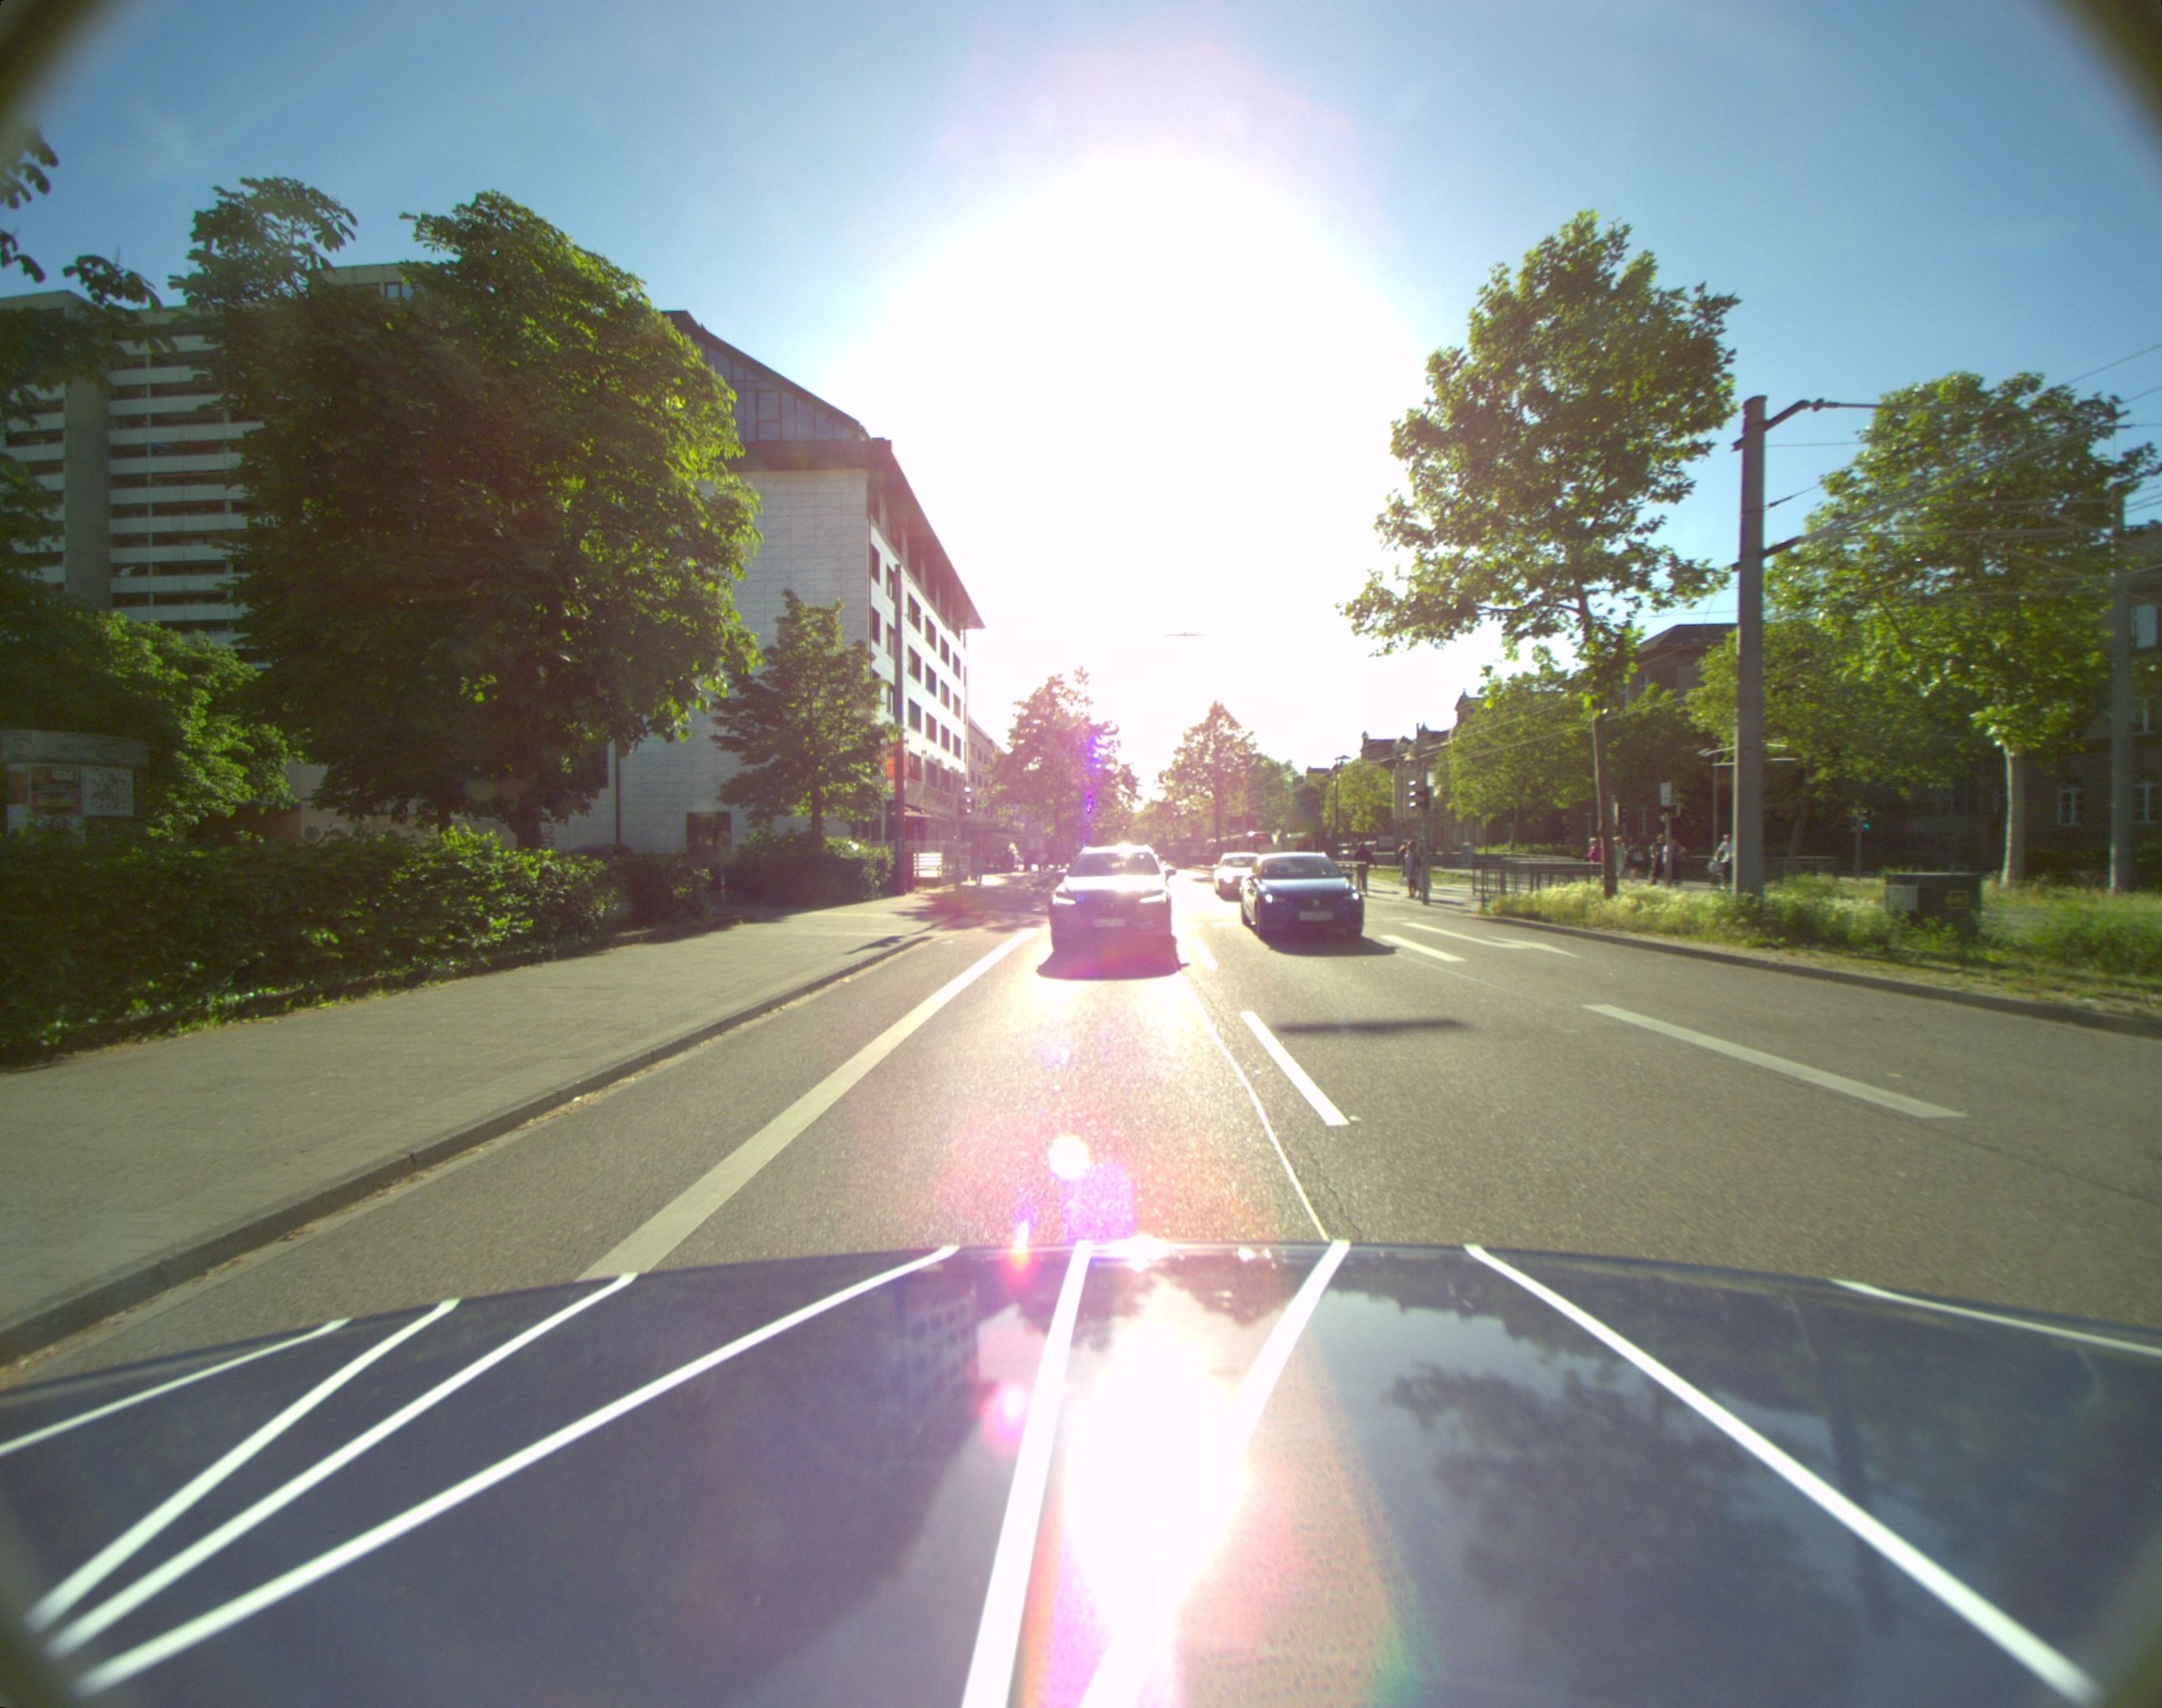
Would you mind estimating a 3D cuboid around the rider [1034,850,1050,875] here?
[{"bbox_3d":[-2.727,0.572,53.267,0.924,1.668,0.977,-2,1,3],"label":"rider"}]

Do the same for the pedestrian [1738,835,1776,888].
[{"bbox_3d":[21.204,0.230,23.833,0.595,1.612,0.698,-3,1,-31],"label":"pedestrian"}]

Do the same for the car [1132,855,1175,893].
[{"bbox_3d":[2.859,0.770,30.713,1.604,1.386,4.001,-1,0,4],"label":"car"}]

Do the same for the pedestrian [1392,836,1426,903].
[{"bbox_3d":[9.038,0.430,20.964,0.647,1.796,0.504,-3,1,-8],"label":"pedestrian"}]

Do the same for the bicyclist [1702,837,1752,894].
[{"bbox_3d":[19.222,0.343,22.608,0.970,1.634,0.833,-3,1,-31],"label":"bicyclist"}]

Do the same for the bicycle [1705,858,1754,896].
[{"bbox_3d":[19.251,0.661,22.554,1.666,1.036,0.543,-3,2,-29],"label":"bicycle"}]

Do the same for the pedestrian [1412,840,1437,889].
[{"bbox_3d":[11.855,0.369,26.230,0.544,1.652,0.730,-2,1,7],"label":"pedestrian"}]

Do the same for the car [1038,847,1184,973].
[{"bbox_3d":[0.443,0.750,12.983,1.949,1.690,5.306,-1,0,1],"label":"car"}]

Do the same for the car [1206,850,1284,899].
[{"bbox_3d":[5.317,0.612,25.106,1.798,1.420,4.000,-2,1,2],"label":"car"}]

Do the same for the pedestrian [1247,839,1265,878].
[{"bbox_3d":[9.172,0.226,39.754,0.711,2.002,0.787,-2,1,3],"label":"pedestrian"}]

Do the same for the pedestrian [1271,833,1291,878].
[{"bbox_3d":[9.888,0.075,37.615,0.785,2.175,0.801,-2,1,22],"label":"pedestrian"}]

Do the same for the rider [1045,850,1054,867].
[{"bbox_3d":[-3.361,0.455,80.756,0.759,1.717,0.895,-3,1,1],"label":"rider"}]

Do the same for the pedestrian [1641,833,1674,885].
[{"bbox_3d":[19.911,0.173,26.227,0.595,1.726,0.698,-3,1,-31],"label":"pedestrian"}]

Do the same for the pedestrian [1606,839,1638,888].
[{"bbox_3d":[18.802,0.333,26.399,0.595,1.667,0.698,-3,1,-31],"label":"pedestrian"}]

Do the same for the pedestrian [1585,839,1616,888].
[{"bbox_3d":[18.907,0.347,27.637,0.595,1.735,0.698,-3,1,-31],"label":"pedestrian"}]

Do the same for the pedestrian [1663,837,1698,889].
[{"bbox_3d":[19.521,0.299,24.749,0.595,1.634,0.698,-3,1,-34],"label":"pedestrian"}]

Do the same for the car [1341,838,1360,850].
[{"bbox_3d":[28.661,-1.025,80.900,1.181,1.190,2.459,-2,1,2],"label":"car"}]

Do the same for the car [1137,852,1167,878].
[{"bbox_3d":[4.632,0.680,49.308,1.774,1.567,3.824,-2,1,7],"label":"car"}]

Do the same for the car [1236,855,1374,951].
[{"bbox_3d":[3.948,0.787,14.014,1.777,1.440,3.870,-2,0,7],"label":"car"}]

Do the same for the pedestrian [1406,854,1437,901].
[{"bbox_3d":[9.170,0.624,20.449,0.594,1.226,0.425,-3,1,-8],"label":"pedestrian"}]

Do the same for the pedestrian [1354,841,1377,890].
[{"bbox_3d":[9.702,0.380,25.899,0.580,1.652,0.667,-2,1,11],"label":"pedestrian"}]

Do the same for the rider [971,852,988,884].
[{"bbox_3d":[-4.997,0.680,37.416,0.779,1.582,0.790,0,1,-1],"label":"rider"}]

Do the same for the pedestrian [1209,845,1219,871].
[{"bbox_3d":[11.029,0.298,63.140,0.714,2.103,0.787,-2,1,7],"label":"pedestrian"}]
